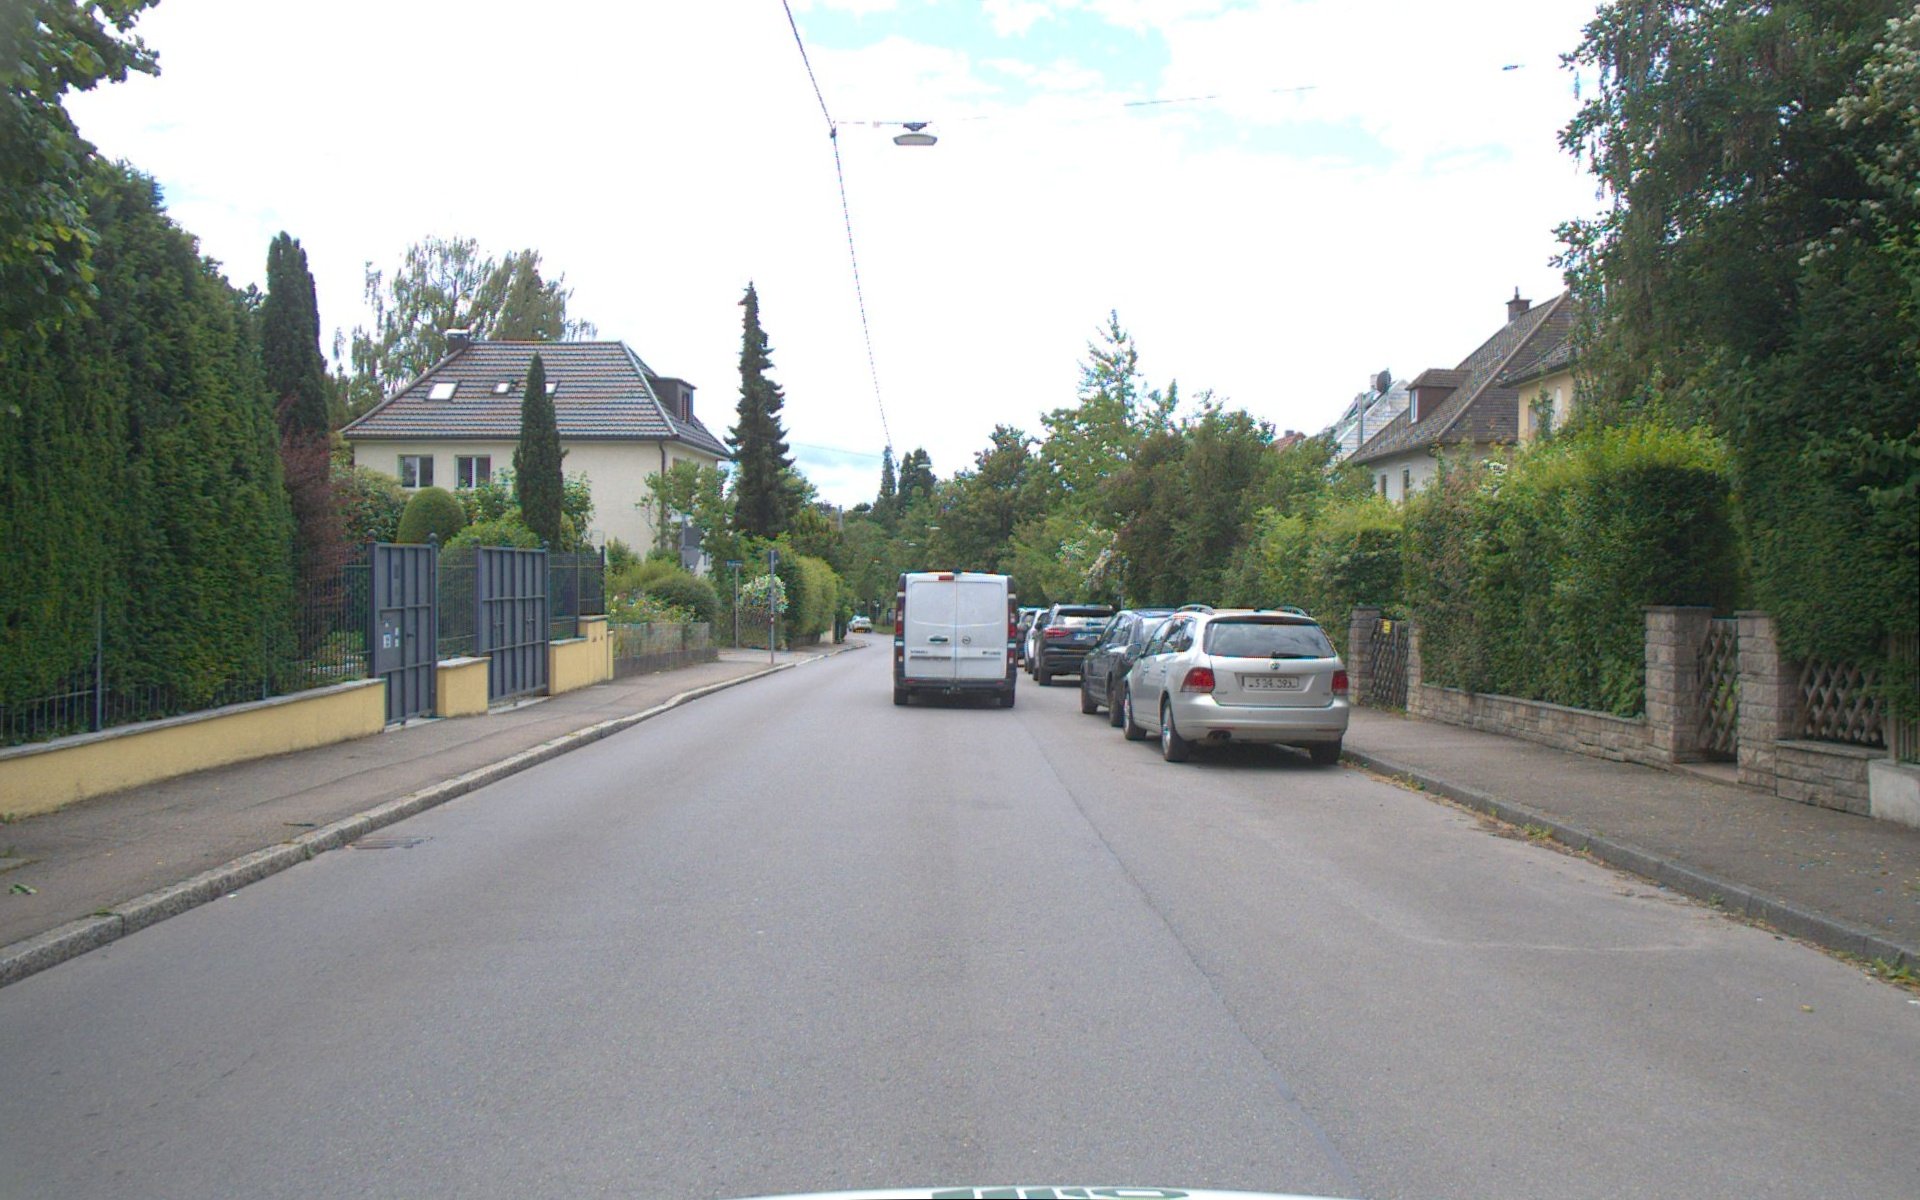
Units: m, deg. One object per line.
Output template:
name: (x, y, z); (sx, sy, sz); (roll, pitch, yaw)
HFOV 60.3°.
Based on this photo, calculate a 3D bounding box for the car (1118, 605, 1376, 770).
car: (2.824, 0.806, 17.245); (1.721, 1.503, 4.355); (0, 0, -3)

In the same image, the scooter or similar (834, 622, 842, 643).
scooter or similar: (-7.061, 1.894, 95.882); (0.384, 1.191, 1.269); (2, -1, -2)

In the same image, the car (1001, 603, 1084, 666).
car: (2.320, 0.983, 47.455); (1.911, 1.655, 4.373); (2, -1, -3)

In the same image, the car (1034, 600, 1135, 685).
car: (2.472, 0.839, 33.721); (1.764, 1.620, 4.141); (0, -1, 0)

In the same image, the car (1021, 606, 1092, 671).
car: (2.372, 0.954, 41.069); (1.566, 1.537, 3.012); (0, -1, 0)

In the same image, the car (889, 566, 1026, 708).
car: (-0.122, 0.535, 25.870); (1.891, 1.998, 4.399); (1, 0, -3)

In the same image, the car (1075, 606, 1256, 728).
car: (2.660, 0.825, 22.297); (1.683, 1.486, 4.137); (0, 0, -4)
